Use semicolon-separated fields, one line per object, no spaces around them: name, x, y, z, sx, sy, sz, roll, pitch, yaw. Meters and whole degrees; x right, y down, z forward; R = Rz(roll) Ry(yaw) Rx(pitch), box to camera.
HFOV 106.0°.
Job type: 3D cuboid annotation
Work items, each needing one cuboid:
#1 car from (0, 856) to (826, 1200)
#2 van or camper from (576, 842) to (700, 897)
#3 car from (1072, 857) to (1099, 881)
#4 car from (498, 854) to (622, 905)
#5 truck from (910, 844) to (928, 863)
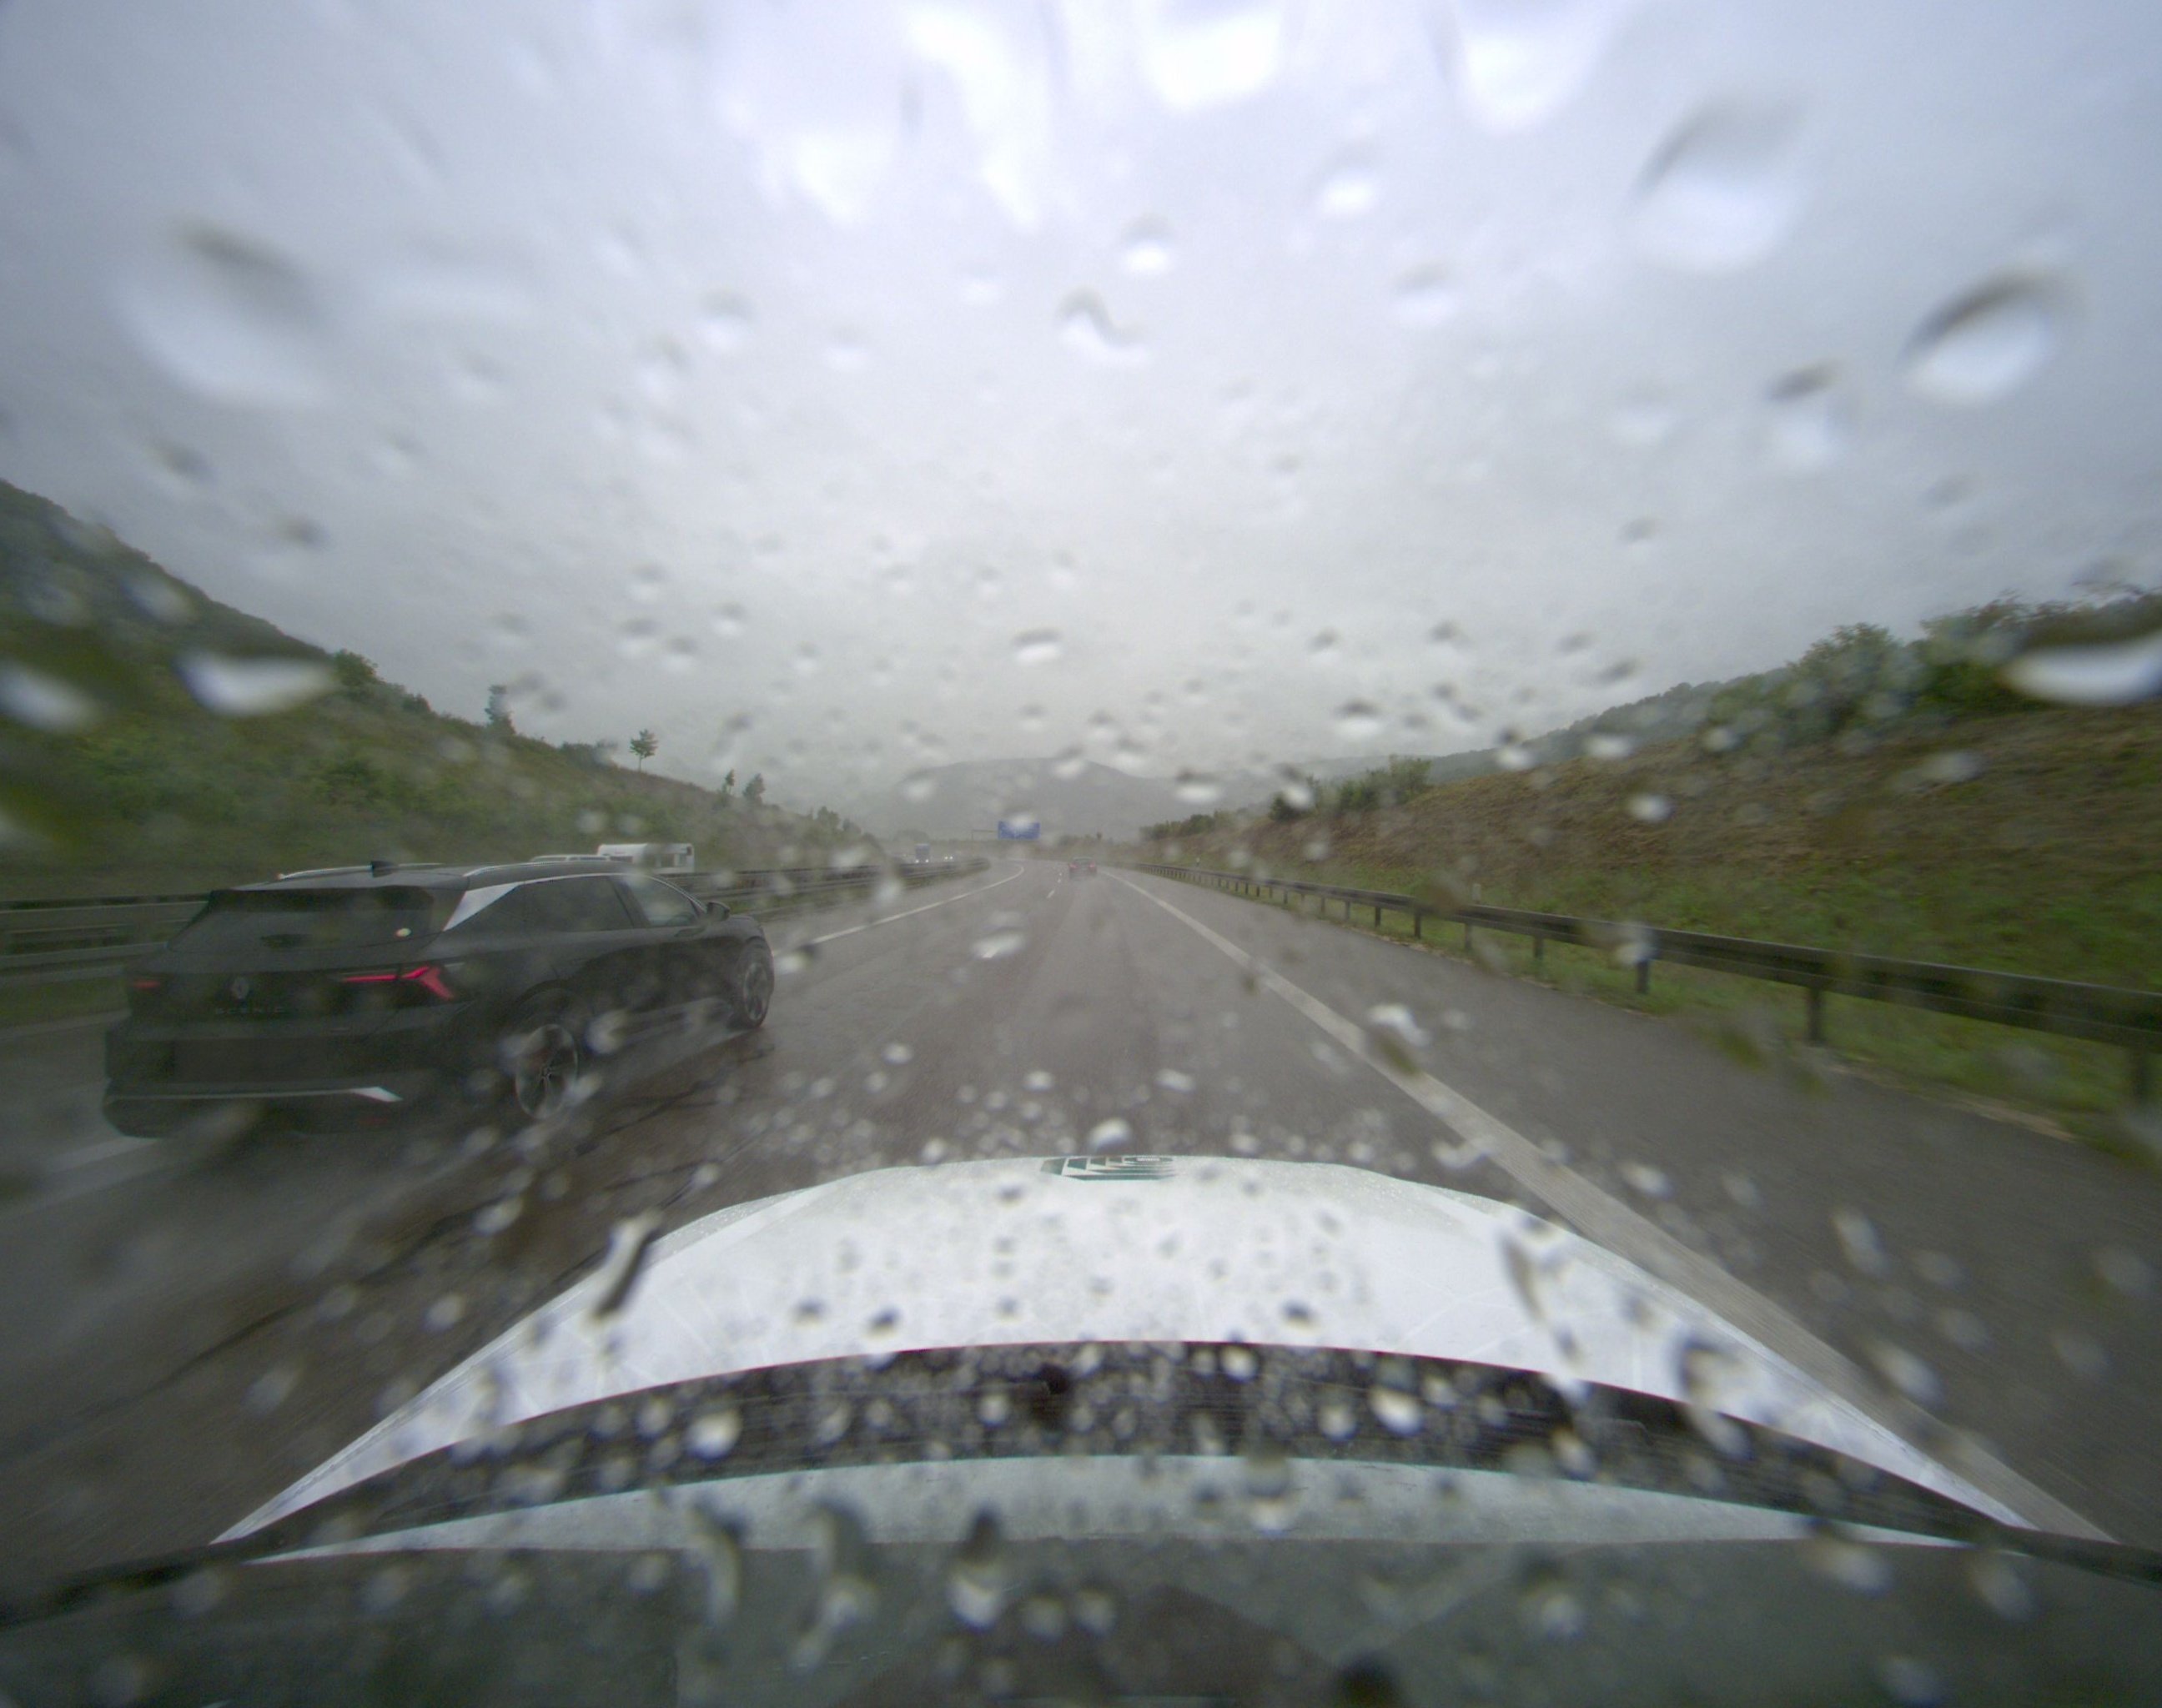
car;-3.944;0.782;6.025;2.396;1.515;4.787;0;0;3
van or camper;-22.392;0.733;41.672;2.336;2.564;7.205;-1;0;1
car;0.311;0.937;52.708;1.673;1.472;3.815;0;0;1
car;-22.475;1.018;35.432;1.987;2.015;5.179;-1;0;0
truck;-31.798;-0.036;160.211;2.775;3.683;6.197;-1;0;-5
